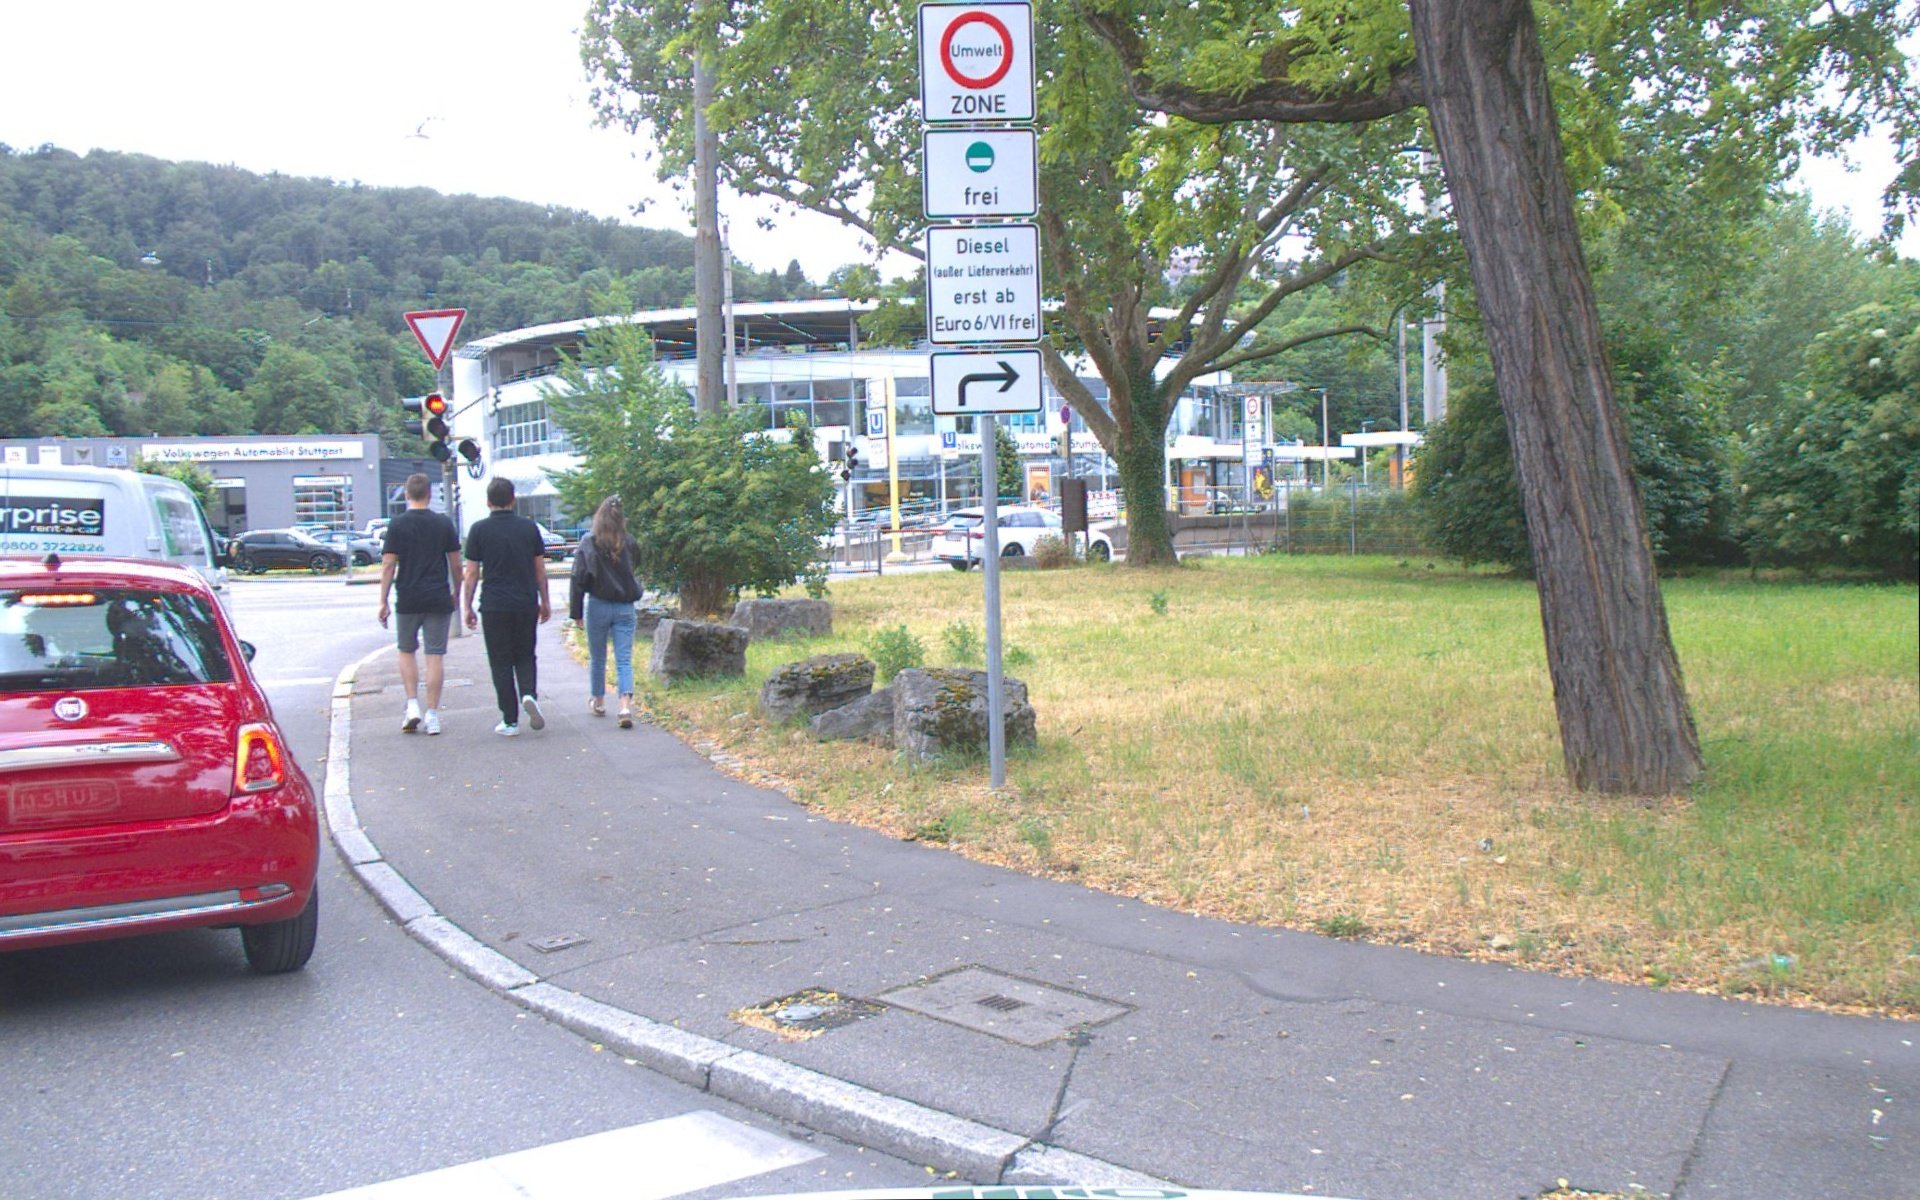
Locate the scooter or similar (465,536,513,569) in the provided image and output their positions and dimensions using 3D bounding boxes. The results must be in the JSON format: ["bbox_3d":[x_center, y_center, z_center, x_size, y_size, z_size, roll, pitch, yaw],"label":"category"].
[{"bbox_3d":[-17.656,-1.784,62.026,1.640,1.198,0.466,-3,3,-15],"label":"scooter or similar"}]

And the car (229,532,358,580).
[{"bbox_3d":[-23.525,-1.568,58.467,3.793,1.526,1.774,-2,3,-5],"label":"car"}]

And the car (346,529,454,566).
[{"bbox_3d":[-26.525,-2.506,78.417,4.725,1.559,1.766,-3,3,-20],"label":"car"}]

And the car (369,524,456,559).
[{"bbox_3d":[-32.212,-3.448,97.407,4.725,1.834,1.766,-3,3,-20],"label":"car"}]

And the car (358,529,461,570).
[{"bbox_3d":[-27.096,-2.495,81.463,4.725,1.834,1.766,-3,3,-20],"label":"car"}]

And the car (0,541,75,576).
[{"bbox_3d":[-45.015,-1.997,79.515,4.014,1.559,1.767,-3,3,-18],"label":"car"}]

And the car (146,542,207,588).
[{"bbox_3d":[-34.432,-1.578,72.782,1.965,1.847,3.977,-3,3,-20],"label":"car"}]

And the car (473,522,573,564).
[{"bbox_3d":[-17.169,-2.237,64.949,3.803,1.526,1.770,0,3,36],"label":"car"}]

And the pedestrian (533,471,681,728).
[{"bbox_3d":[-2.550,-0.023,11.927,0.689,1.769,0.777,-4,3,-40],"label":"pedestrian"}]

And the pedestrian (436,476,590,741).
[{"bbox_3d":[-3.093,0.038,11.440,0.689,1.744,0.777,-4,3,-40],"label":"pedestrian"}]

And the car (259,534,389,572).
[{"bbox_3d":[-25.791,-1.935,67.173,4.584,1.350,1.773,-2,3,-8],"label":"car"}]

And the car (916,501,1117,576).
[{"bbox_3d":[1.388,-1.483,38.863,4.856,1.533,1.777,-5,5,-42],"label":"car"}]

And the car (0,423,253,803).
[{"bbox_3d":[-6.271,0.008,11.648,1.960,2.143,4.735,-3,3,-19],"label":"car"}]

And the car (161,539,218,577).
[{"bbox_3d":[-33.965,-1.866,72.983,1.743,1.559,4.069,-3,3,-19],"label":"car"}]

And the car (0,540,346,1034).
[{"bbox_3d":[-3.676,0.539,6.566,1.624,1.482,3.393,-3,2,-32],"label":"car"}]

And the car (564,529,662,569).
[{"bbox_3d":[-14.323,-2.105,68.164,3.944,1.526,1.768,0,3,38],"label":"car"}]

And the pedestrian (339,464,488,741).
[{"bbox_3d":[-3.905,-0.004,11.818,0.689,1.889,0.777,-4,3,-40],"label":"pedestrian"}]

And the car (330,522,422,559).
[{"bbox_3d":[-32.526,-3.329,92.224,4.725,1.834,1.766,-3,3,-20],"label":"car"}]
